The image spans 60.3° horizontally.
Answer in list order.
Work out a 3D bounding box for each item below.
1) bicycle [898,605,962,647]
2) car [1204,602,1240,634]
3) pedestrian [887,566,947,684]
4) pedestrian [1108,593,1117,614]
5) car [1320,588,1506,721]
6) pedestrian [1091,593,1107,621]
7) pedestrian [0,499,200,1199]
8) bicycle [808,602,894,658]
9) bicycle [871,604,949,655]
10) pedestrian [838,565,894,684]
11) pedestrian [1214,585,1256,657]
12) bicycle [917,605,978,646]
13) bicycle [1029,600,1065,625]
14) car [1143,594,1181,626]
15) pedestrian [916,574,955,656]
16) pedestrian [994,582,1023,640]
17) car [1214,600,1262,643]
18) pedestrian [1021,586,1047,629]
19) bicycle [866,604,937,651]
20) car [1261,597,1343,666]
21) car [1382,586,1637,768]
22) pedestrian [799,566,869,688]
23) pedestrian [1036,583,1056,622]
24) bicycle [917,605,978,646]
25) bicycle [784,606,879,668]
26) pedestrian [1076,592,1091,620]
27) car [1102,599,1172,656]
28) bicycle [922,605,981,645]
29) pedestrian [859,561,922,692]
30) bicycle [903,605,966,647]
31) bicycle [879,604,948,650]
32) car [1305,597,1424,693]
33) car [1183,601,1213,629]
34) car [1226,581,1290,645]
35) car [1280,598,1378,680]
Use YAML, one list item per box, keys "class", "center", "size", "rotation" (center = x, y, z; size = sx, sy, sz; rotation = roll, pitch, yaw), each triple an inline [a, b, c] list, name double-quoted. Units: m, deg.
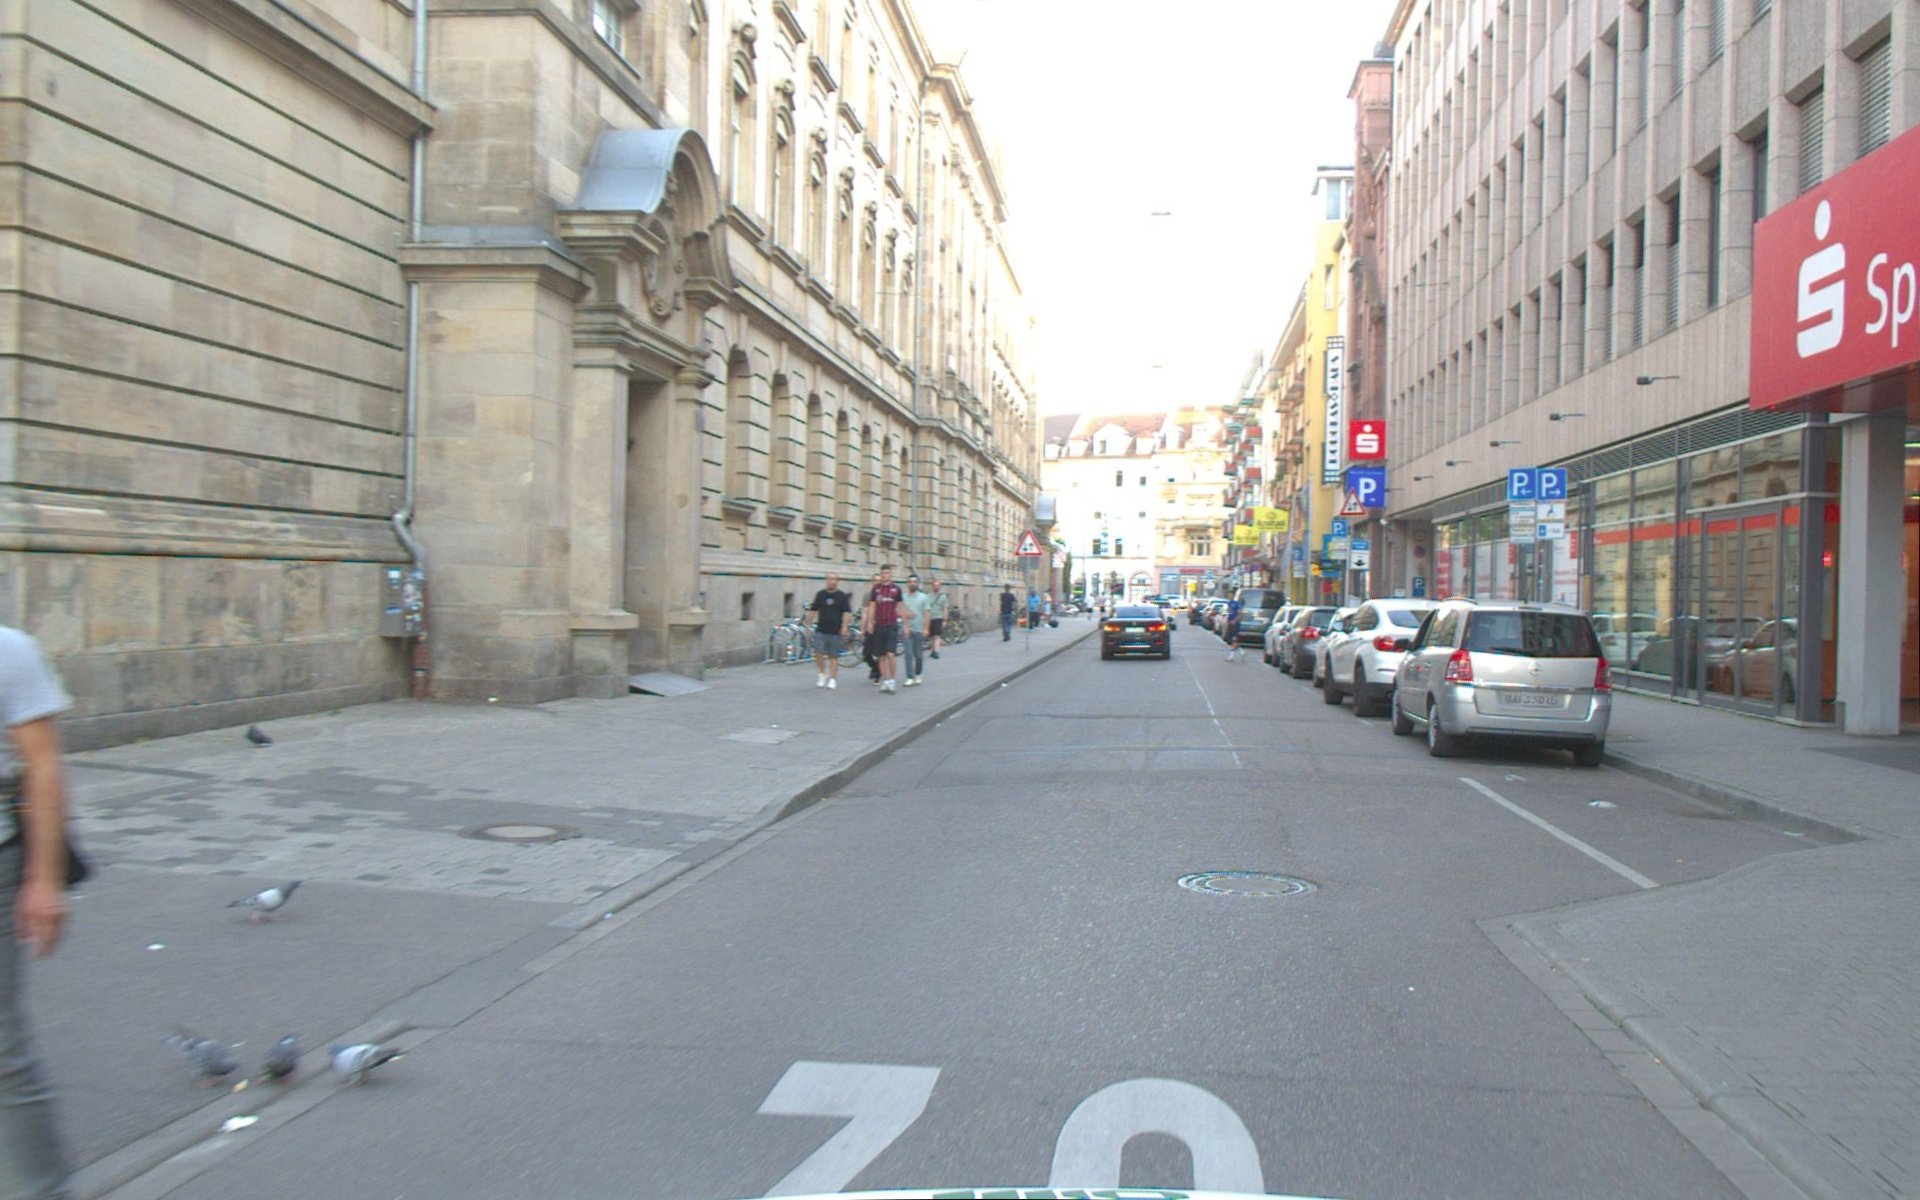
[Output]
- class: "bicycle"
  center: [-0.808, 0.702, 45.028]
  size: [1.644, 1.059, 0.487]
  rotation: [3, 0, 5]
- class: "car"
  center: [13.754, 0.931, 86.936]
  size: [1.609, 1.549, 3.287]
  rotation: [3, 0, 6]
- class: "pedestrian"
  center: [-0.676, 0.391, 26.302]
  size: [0.770, 1.782, 0.722]
  rotation: [4, 0, 4]
- class: "pedestrian"
  center: [13.414, 0.332, 145.074]
  size: [0.652, 1.782, 0.681]
  rotation: [4, 0, 3]
- class: "car"
  center: [6.413, 0.714, 23.844]
  size: [1.733, 1.664, 4.092]
  rotation: [3, 0, 4]
- class: "pedestrian"
  center: [9.166, 0.437, 109.280]
  size: [0.914, 1.782, 0.810]
  rotation: [4, 0, 3]
- class: "pedestrian"
  center: [-2.214, 0.636, 3.717]
  size: [0.717, 1.675, 0.869]
  rotation: [1, -1, -13]
- class: "bicycle"
  center: [-2.210, 0.613, 33.565]
  size: [1.649, 1.059, 0.486]
  rotation: [3, 0, -11]
- class: "bicycle"
  center: [-1.109, 0.650, 37.004]
  size: [1.644, 1.059, 0.487]
  rotation: [3, 0, 5]
- class: "pedestrian"
  center: [-1.466, 0.377, 25.916]
  size: [0.675, 1.782, 0.722]
  rotation: [4, 0, 4]
- class: "pedestrian"
  center: [6.995, 0.534, 42.102]
  size: [0.808, 1.822, 0.723]
  rotation: [1, 0, -18]
- class: "bicycle"
  center: [-0.348, 0.722, 47.244]
  size: [1.644, 1.059, 0.487]
  rotation: [3, 0, 5]
- class: "bicycle"
  center: [4.164, 0.610, 79.088]
  size: [1.644, 1.059, 0.488]
  rotation: [4, 0, 7]
- class: "car"
  center: [10.091, 0.470, 82.706]
  size: [1.756, 1.536, 4.003]
  rotation: [1, 0, 6]
- class: "pedestrian"
  center: [-0.552, 0.335, 37.242]
  size: [0.704, 1.782, 0.669]
  rotation: [4, 0, 4]
- class: "pedestrian"
  center: [1.540, 0.341, 52.431]
  size: [0.787, 1.782, 0.810]
  rotation: [4, 0, 4]
- class: "car"
  center: [10.876, 0.828, 64.901]
  size: [1.609, 1.549, 3.287]
  rotation: [3, 0, 6]
- class: "pedestrian"
  center: [3.033, 0.311, 67.444]
  size: [0.914, 1.664, 0.655]
  rotation: [4, 0, 4]
- class: "bicycle"
  center: [-1.429, 0.665, 40.455]
  size: [1.644, 1.059, 0.487]
  rotation: [3, 0, 5]
- class: "car"
  center: [8.394, 0.744, 40.792]
  size: [1.609, 1.549, 3.287]
  rotation: [3, 0, 6]
- class: "car"
  center: [5.837, 0.739, 18.054]
  size: [1.732, 1.664, 4.055]
  rotation: [3, 0, 6]
- class: "pedestrian"
  center: [-1.858, 0.391, 24.503]
  size: [0.780, 1.704, 0.975]
  rotation: [4, 0, 4]
- class: "pedestrian"
  center: [4.058, 0.102, 78.186]
  size: [0.790, 1.782, 0.937]
  rotation: [4, 0, 6]
- class: "bicycle"
  center: [-0.360, 0.719, 46.778]
  size: [1.644, 1.059, 0.487]
  rotation: [3, 0, 5]
- class: "bicycle"
  center: [-2.394, 0.678, 30.733]
  size: [1.644, 1.059, 0.488]
  rotation: [3, 0, 12]
- class: "pedestrian"
  center: [8.129, 0.420, 108.877]
  size: [0.914, 1.782, 0.810]
  rotation: [4, 0, 3]
- class: "car"
  center: [4.635, 0.697, 43.345]
  size: [1.732, 1.433, 4.055]
  rotation: [0, 0, 6]
- class: "bicycle"
  center: [-0.240, 0.731, 48.528]
  size: [1.644, 1.059, 0.487]
  rotation: [3, 0, 5]
- class: "pedestrian"
  center: [-1.011, 0.379, 24.354]
  size: [0.683, 1.843, 0.975]
  rotation: [4, 0, 4]
- class: "bicycle"
  center: [-0.698, 0.706, 45.474]
  size: [1.644, 1.059, 0.487]
  rotation: [3, 0, 5]
- class: "bicycle"
  center: [-1.168, 0.677, 41.704]
  size: [1.644, 1.059, 0.487]
  rotation: [3, 0, 5]
- class: "car"
  center: [7.226, 0.769, 29.792]
  size: [1.609, 1.549, 3.287]
  rotation: [3, 0, 6]
- class: "car"
  center: [14.583, 0.910, 101.443]
  size: [1.609, 1.549, 3.287]
  rotation: [3, 0, 6]
- class: "car"
  center: [10.278, 0.444, 57.254]
  size: [1.830, 2.053, 3.768]
  rotation: [3, 0, 6]
- class: "car"
  center: [7.691, 0.771, 34.712]
  size: [1.609, 1.549, 3.287]
  rotation: [3, 0, 6]
